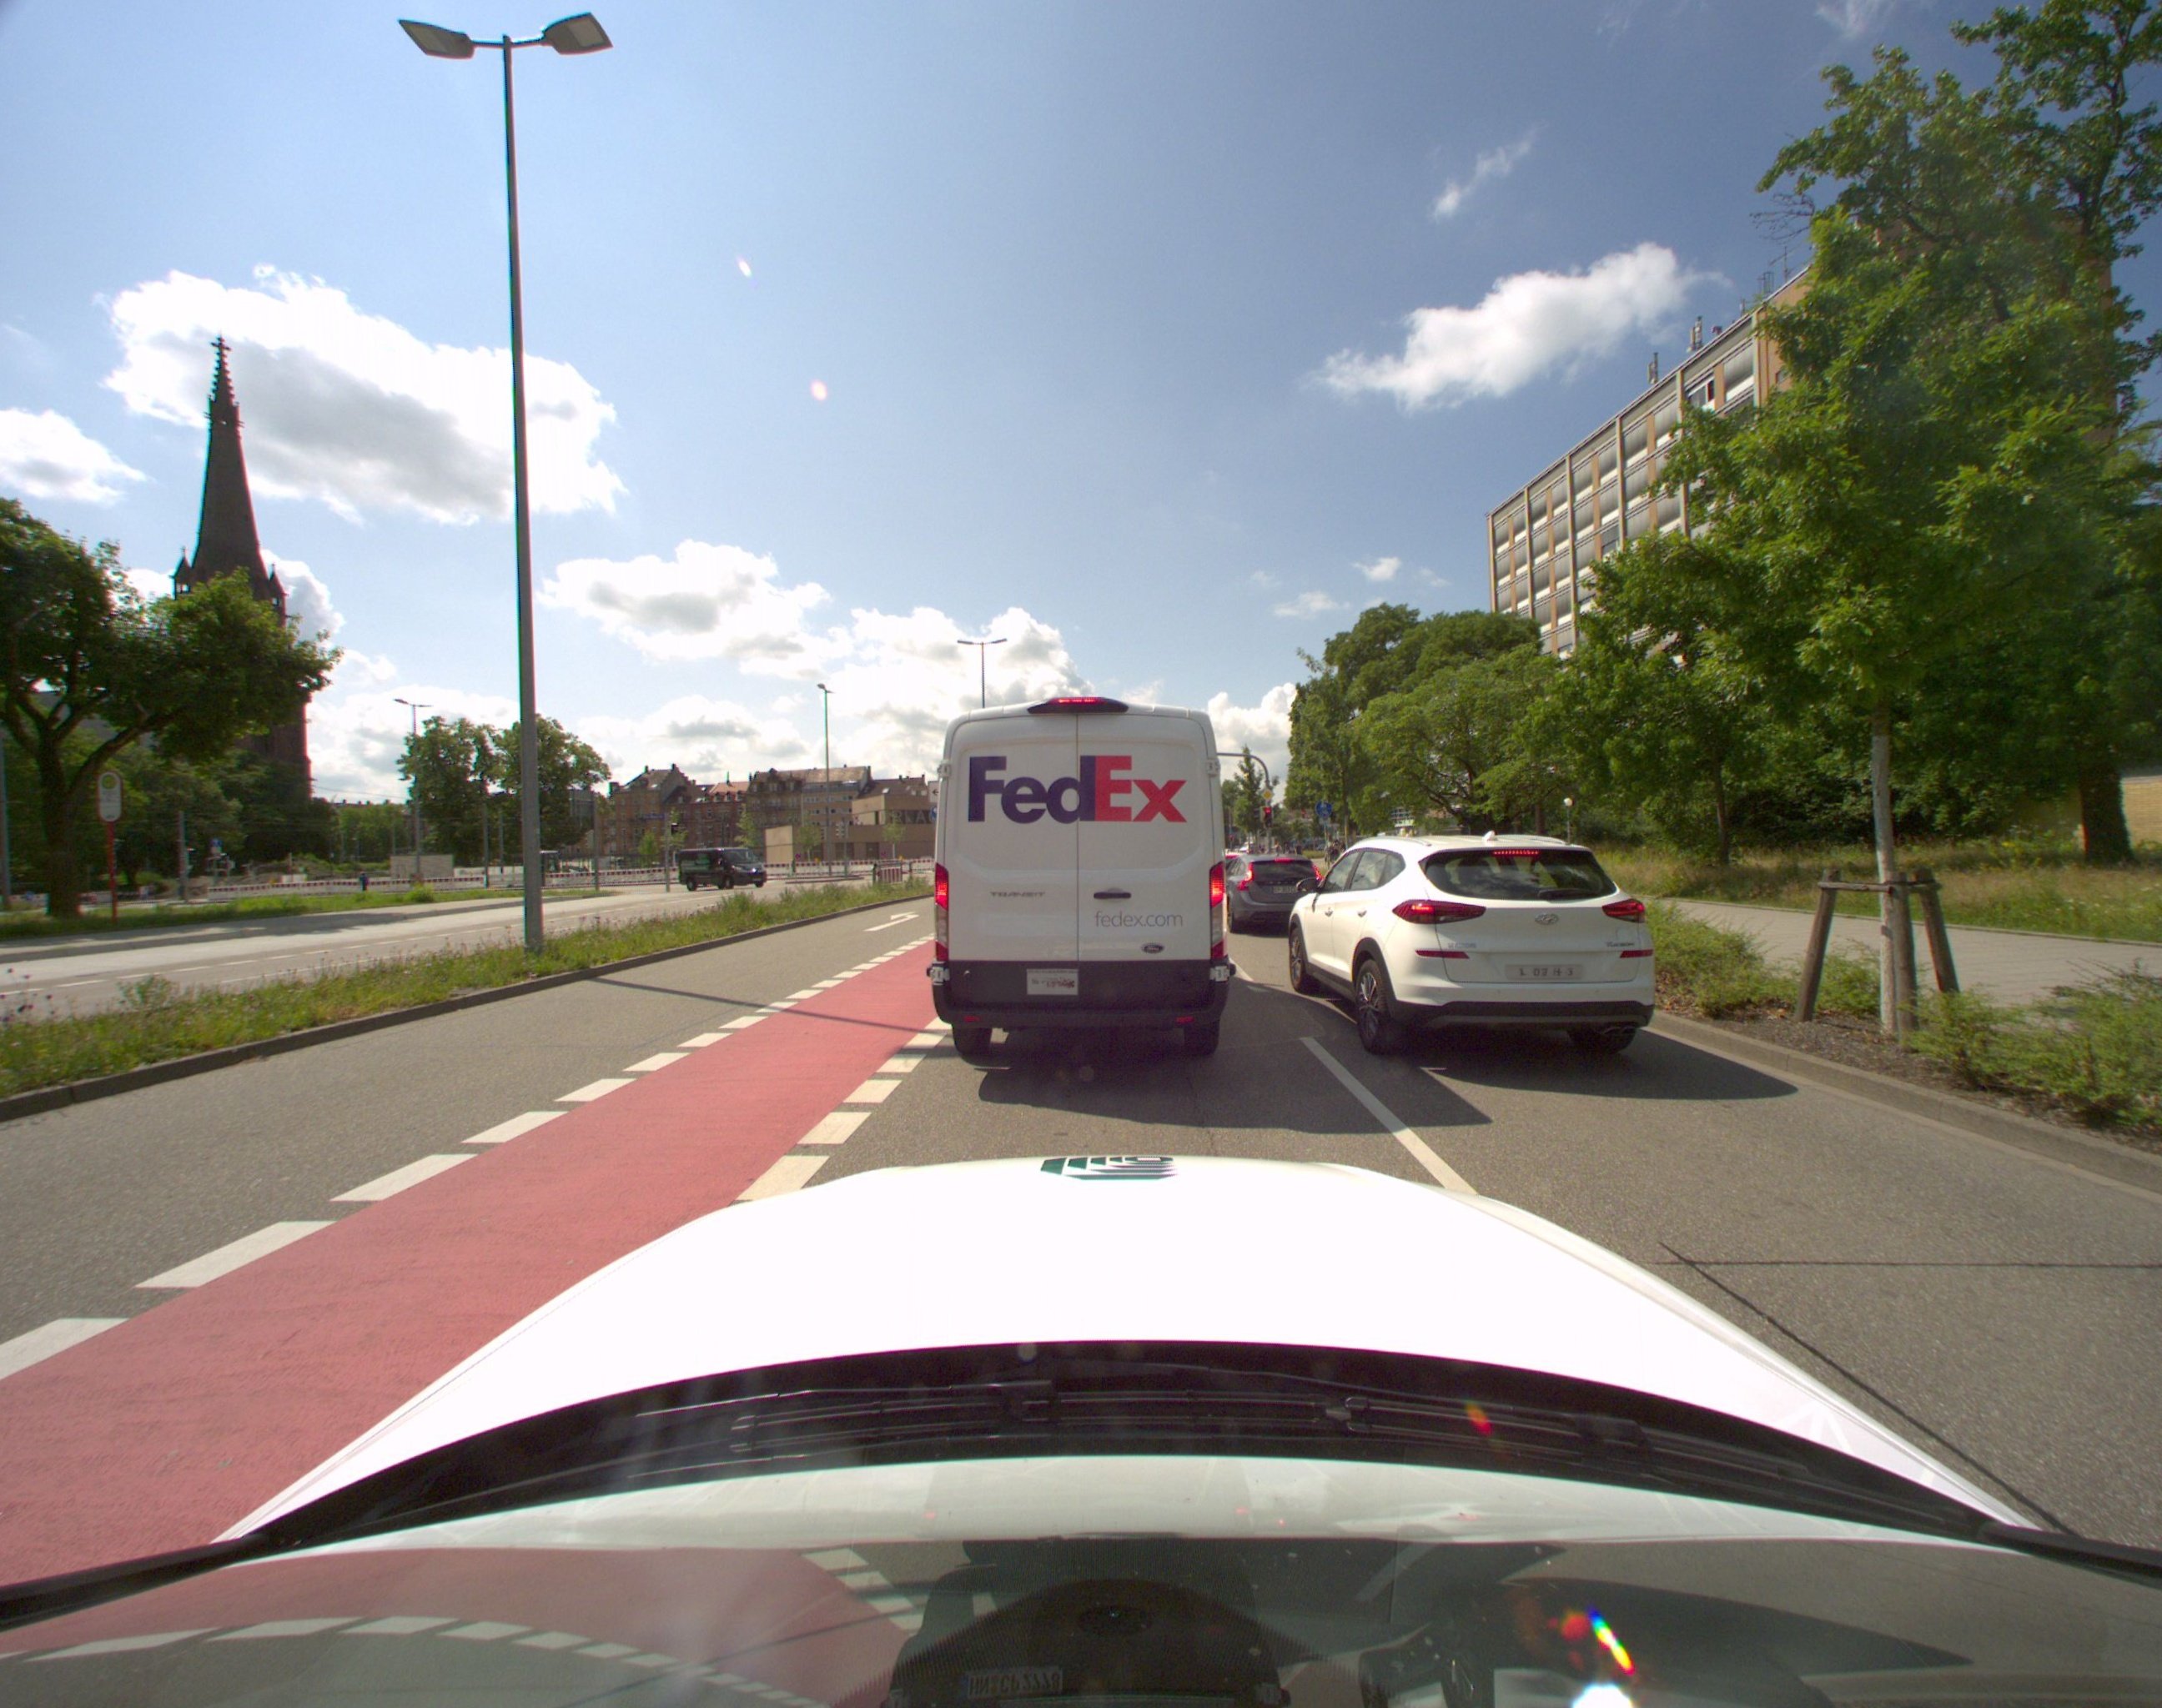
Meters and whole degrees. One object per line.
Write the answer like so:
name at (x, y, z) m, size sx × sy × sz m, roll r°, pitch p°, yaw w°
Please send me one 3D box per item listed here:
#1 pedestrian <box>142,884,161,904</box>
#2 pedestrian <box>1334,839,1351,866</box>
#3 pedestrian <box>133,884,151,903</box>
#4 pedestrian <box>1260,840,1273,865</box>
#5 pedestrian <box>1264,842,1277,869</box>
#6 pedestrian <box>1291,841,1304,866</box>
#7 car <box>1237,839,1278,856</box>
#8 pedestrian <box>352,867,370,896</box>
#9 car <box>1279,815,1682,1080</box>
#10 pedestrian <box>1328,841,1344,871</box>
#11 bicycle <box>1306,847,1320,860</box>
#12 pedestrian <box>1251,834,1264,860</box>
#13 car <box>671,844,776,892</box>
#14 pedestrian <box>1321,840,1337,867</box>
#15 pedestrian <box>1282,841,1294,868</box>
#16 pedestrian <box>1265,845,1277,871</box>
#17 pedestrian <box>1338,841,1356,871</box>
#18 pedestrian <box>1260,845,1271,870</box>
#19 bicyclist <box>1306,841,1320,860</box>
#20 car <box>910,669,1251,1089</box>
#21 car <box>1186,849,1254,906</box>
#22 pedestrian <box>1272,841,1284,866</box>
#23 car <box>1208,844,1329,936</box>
pedestrian at (-84.022, 3.611, 73.621) m, size 0.860 × 1.663 × 0.745 m, roll -2°, pitch 0°, yaw -29°
pedestrian at (17.894, -0.095, 55.748) m, size 0.758 × 1.849 × 0.814 m, roll -2°, pitch 0°, yaw -6°
pedestrian at (-83.860, 3.537, 72.737) m, size 0.860 × 1.663 × 0.745 m, roll -2°, pitch 0°, yaw -29°
pedestrian at (13.900, -0.127, 61.073) m, size 0.756 × 1.849 × 0.816 m, roll -2°, pitch 0°, yaw -1°
pedestrian at (13.150, 0.091, 56.534) m, size 0.752 × 1.849 × 0.820 m, roll -2°, pitch 0°, yaw 20°
pedestrian at (16.368, -0.024, 61.564) m, size 0.755 × 1.849 × 0.817 m, roll -2°, pitch 0°, yaw 5°
car at (28.747, -0.997, 132.541) m, size 7.114 × 2.717 × 2.469 m, roll 0°, pitch -1°, yaw -35°
pedestrian at (-50.516, 1.911, 57.156) m, size 0.644 × 2.013 × 0.632 m, roll -2°, pitch 0°, yaw -1°
car at (3.069, 0.597, 7.272) m, size 1.807 × 1.678 × 3.978 m, roll -2°, pitch 0°, yaw 3°
pedestrian at (16.336, 0.133, 52.114) m, size 0.755 × 1.849 × 0.817 m, roll -2°, pitch 0°, yaw 3°
bicycle at (27.555, -0.071, 96.667) m, size 1.414 × 1.464 × 4.330 m, roll -2°, pitch 0°, yaw 17°
pedestrian at (12.996, -0.512, 59.947) m, size 0.810 × 1.849 × 0.762 m, roll -2°, pitch 0°, yaw 5°
car at (-18.640, 0.718, 42.444) m, size 4.956 × 2.175 × 2.167 m, roll -4°, pitch 0°, yaw 25°
pedestrian at (16.911, -0.026, 55.540) m, size 0.758 × 1.849 × 0.814 m, roll -2°, pitch 0°, yaw -8°
pedestrian at (14.884, 0.033, 58.554) m, size 0.752 × 1.849 × 0.820 m, roll -2°, pitch 0°, yaw 20°
pedestrian at (13.713, 0.314, 58.878) m, size 0.753 × 1.849 × 0.820 m, roll -2°, pitch 0°, yaw 16°
pedestrian at (14.788, 0.118, 45.300) m, size 0.755 × 1.655 × 0.817 m, roll -2°, pitch 0°, yaw 5°
pedestrian at (14.107, 0.240, 62.234) m, size 0.753 × 1.849 × 0.820 m, roll -2°, pitch 0°, yaw 17°
bicyclist at (27.561, -0.440, 96.731) m, size 1.421 × 2.171 × 1.345 m, roll -2°, pitch 0°, yaw 17°
car at (0.119, 0.150, 7.323) m, size 2.064 × 2.581 × 4.432 m, roll -2°, pitch 0°, yaw 3°
car at (3.895, 0.602, 23.280) m, size 1.493 × 1.464 × 3.477 m, roll -2°, pitch 0°, yaw 3°
pedestrian at (14.850, -0.014, 61.444) m, size 0.754 × 1.849 × 0.818 m, roll -2°, pitch 0°, yaw 8°
car at (3.549, 0.612, 15.996) m, size 1.684 × 1.549 × 3.724 m, roll -2°, pitch 0°, yaw 3°
